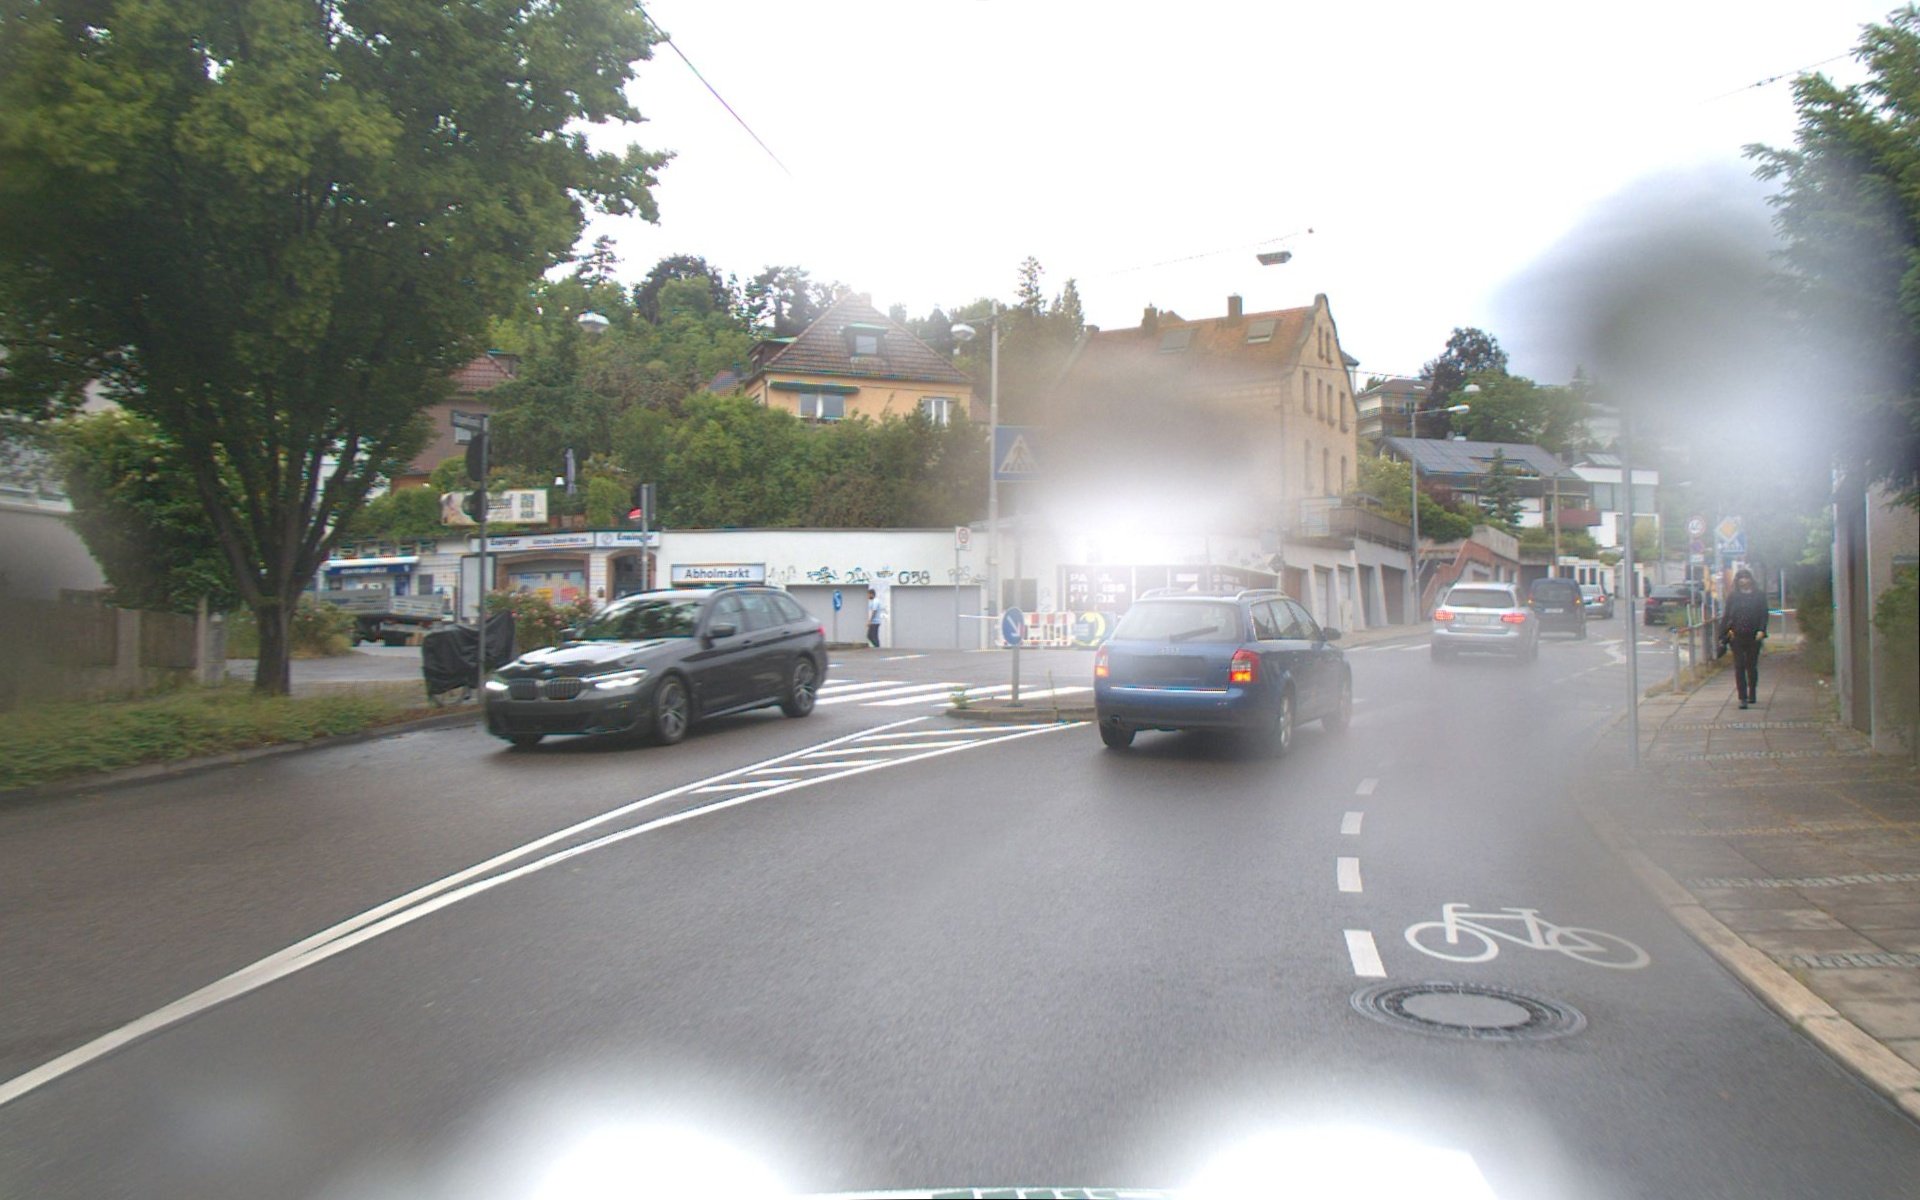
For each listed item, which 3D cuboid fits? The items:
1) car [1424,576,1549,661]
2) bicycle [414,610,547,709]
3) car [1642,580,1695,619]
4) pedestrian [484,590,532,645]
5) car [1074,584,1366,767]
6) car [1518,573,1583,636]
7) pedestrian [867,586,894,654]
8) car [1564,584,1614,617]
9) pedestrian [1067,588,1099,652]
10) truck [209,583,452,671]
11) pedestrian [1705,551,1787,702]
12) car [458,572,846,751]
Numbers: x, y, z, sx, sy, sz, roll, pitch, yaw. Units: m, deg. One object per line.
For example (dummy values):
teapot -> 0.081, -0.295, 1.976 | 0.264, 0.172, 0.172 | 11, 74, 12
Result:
car -> 9.967, 0.297, 31.118 | 1.775, 1.384, 3.998 | 1, 2, 25
bicycle -> -6.048, 0.722, 20.961 | 0.412, 1.104, 1.962 | 1, 2, 25
car -> 26.691, -0.032, 62.263 | 1.736, 1.401, 4.346 | -1, 0, 24
pedestrian -> -12.890, 0.495, 47.211 | 0.956, 1.531, 0.890 | 2, 1, 26
car -> 2.628, 0.600, 15.877 | 1.775, 1.464, 4.080 | 0, 1, 24
car -> 18.189, 0.123, 50.829 | 1.786, 1.851, 4.001 | -1, 0, 21
pedestrian -> -2.183, 0.543, 45.430 | 0.689, 1.837, 0.809 | 0, 0, 1
car -> 26.276, -0.001, 69.036 | 1.787, 1.319, 3.999 | -1, 0, 24
pedestrian -> 3.335, 0.550, 44.960 | 0.575, 1.719, 0.621 | -1, -2, -27
truck -> -17.784, 0.715, 46.699 | 6.650, 2.309, 2.314 | 1, 0, 23
pedestrian -> 9.452, 0.314, 19.881 | 0.787, 1.752, 1.059 | -3, -1, 27
car -> -3.021, 0.538, 17.396 | 1.831, 1.517, 4.638 | -1, 2, 21
